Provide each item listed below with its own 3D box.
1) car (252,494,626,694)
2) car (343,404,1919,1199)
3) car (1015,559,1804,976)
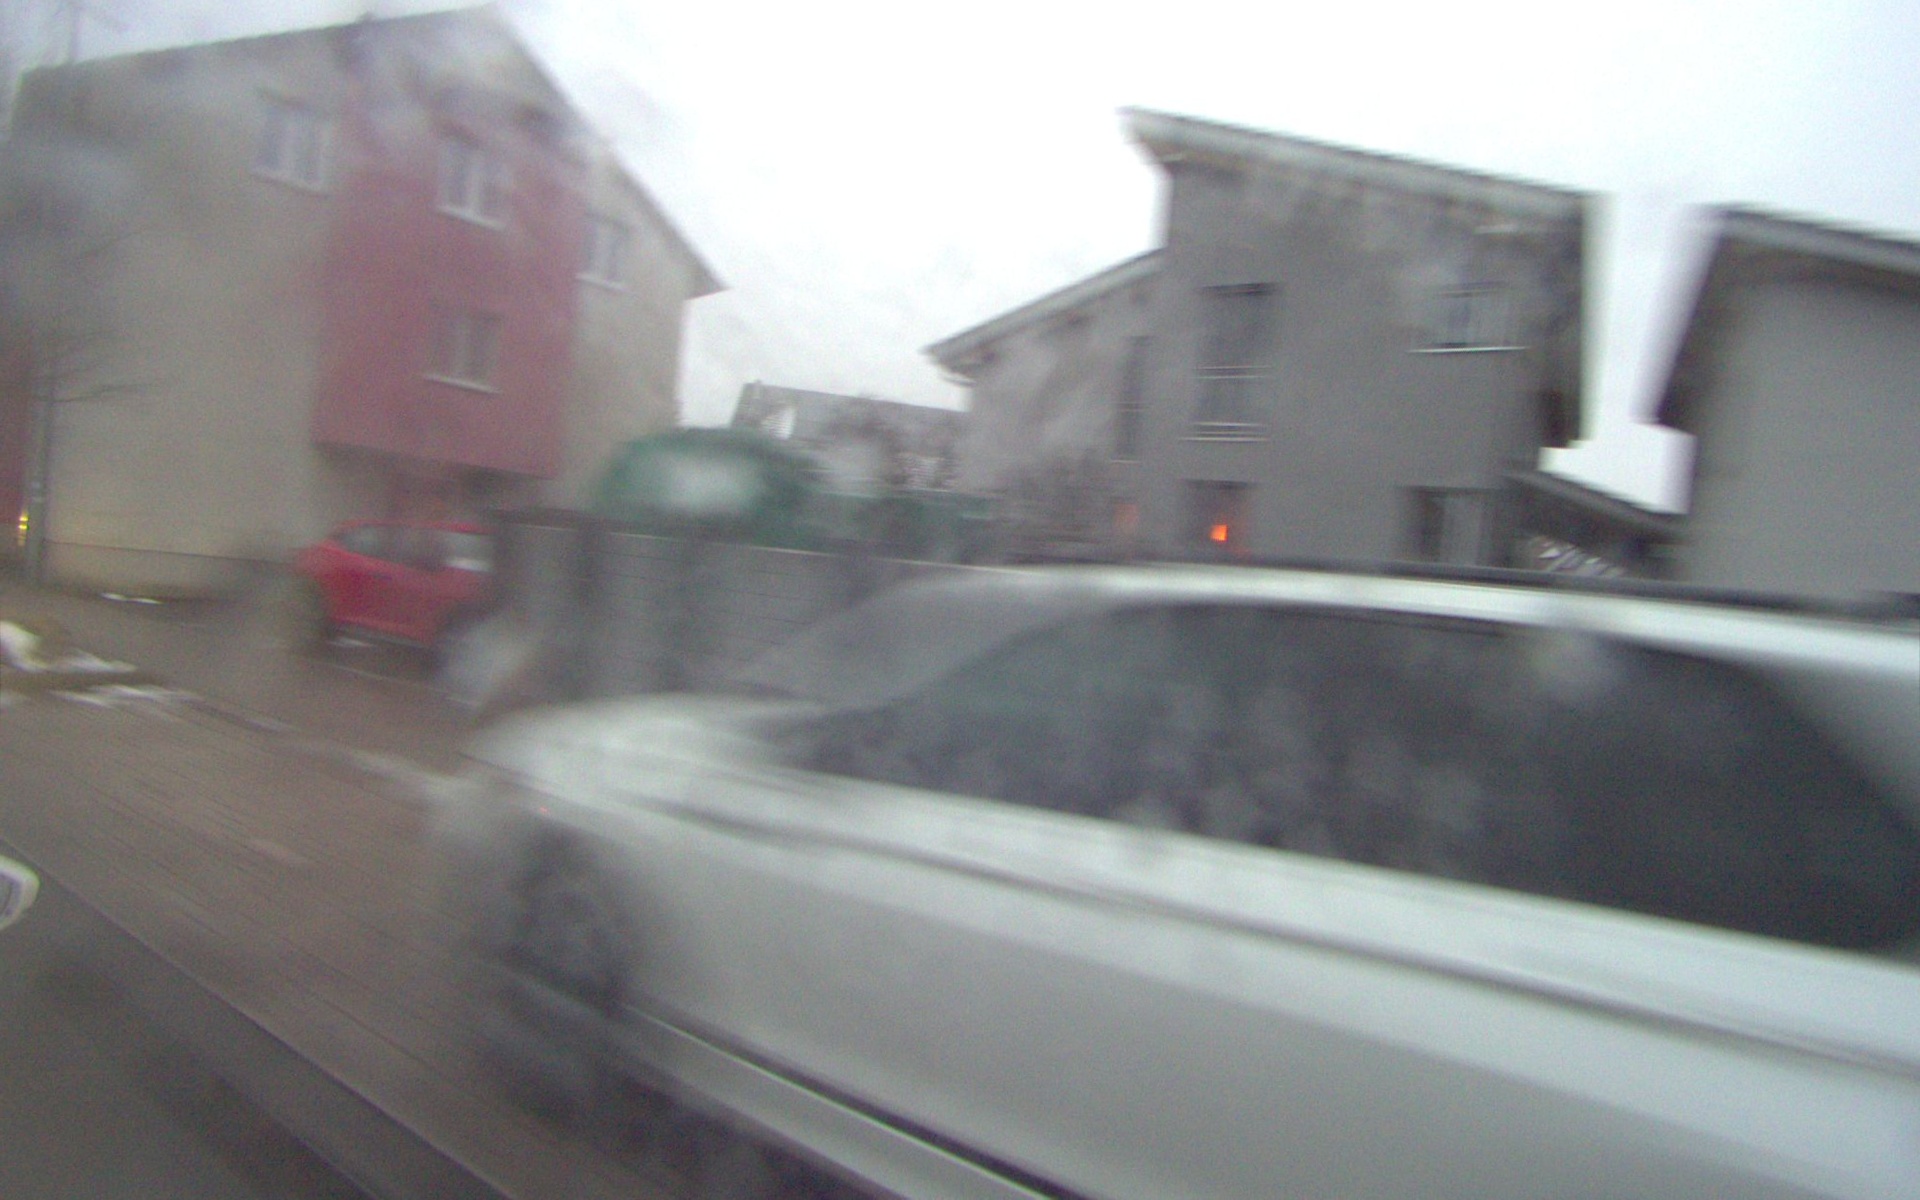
[{"bbox_3d":[-5.698,-0.099,11.011,3.510,1.661,1.787,7,1,26],"label":"car"},{"bbox_3d":[0.412,0.563,2.636,4.265,1.810,1.744,7,3,33],"label":"car"},{"bbox_3d":[2.729,0.777,6.722,4.273,1.603,1.966,8,2,40],"label":"car"}]
